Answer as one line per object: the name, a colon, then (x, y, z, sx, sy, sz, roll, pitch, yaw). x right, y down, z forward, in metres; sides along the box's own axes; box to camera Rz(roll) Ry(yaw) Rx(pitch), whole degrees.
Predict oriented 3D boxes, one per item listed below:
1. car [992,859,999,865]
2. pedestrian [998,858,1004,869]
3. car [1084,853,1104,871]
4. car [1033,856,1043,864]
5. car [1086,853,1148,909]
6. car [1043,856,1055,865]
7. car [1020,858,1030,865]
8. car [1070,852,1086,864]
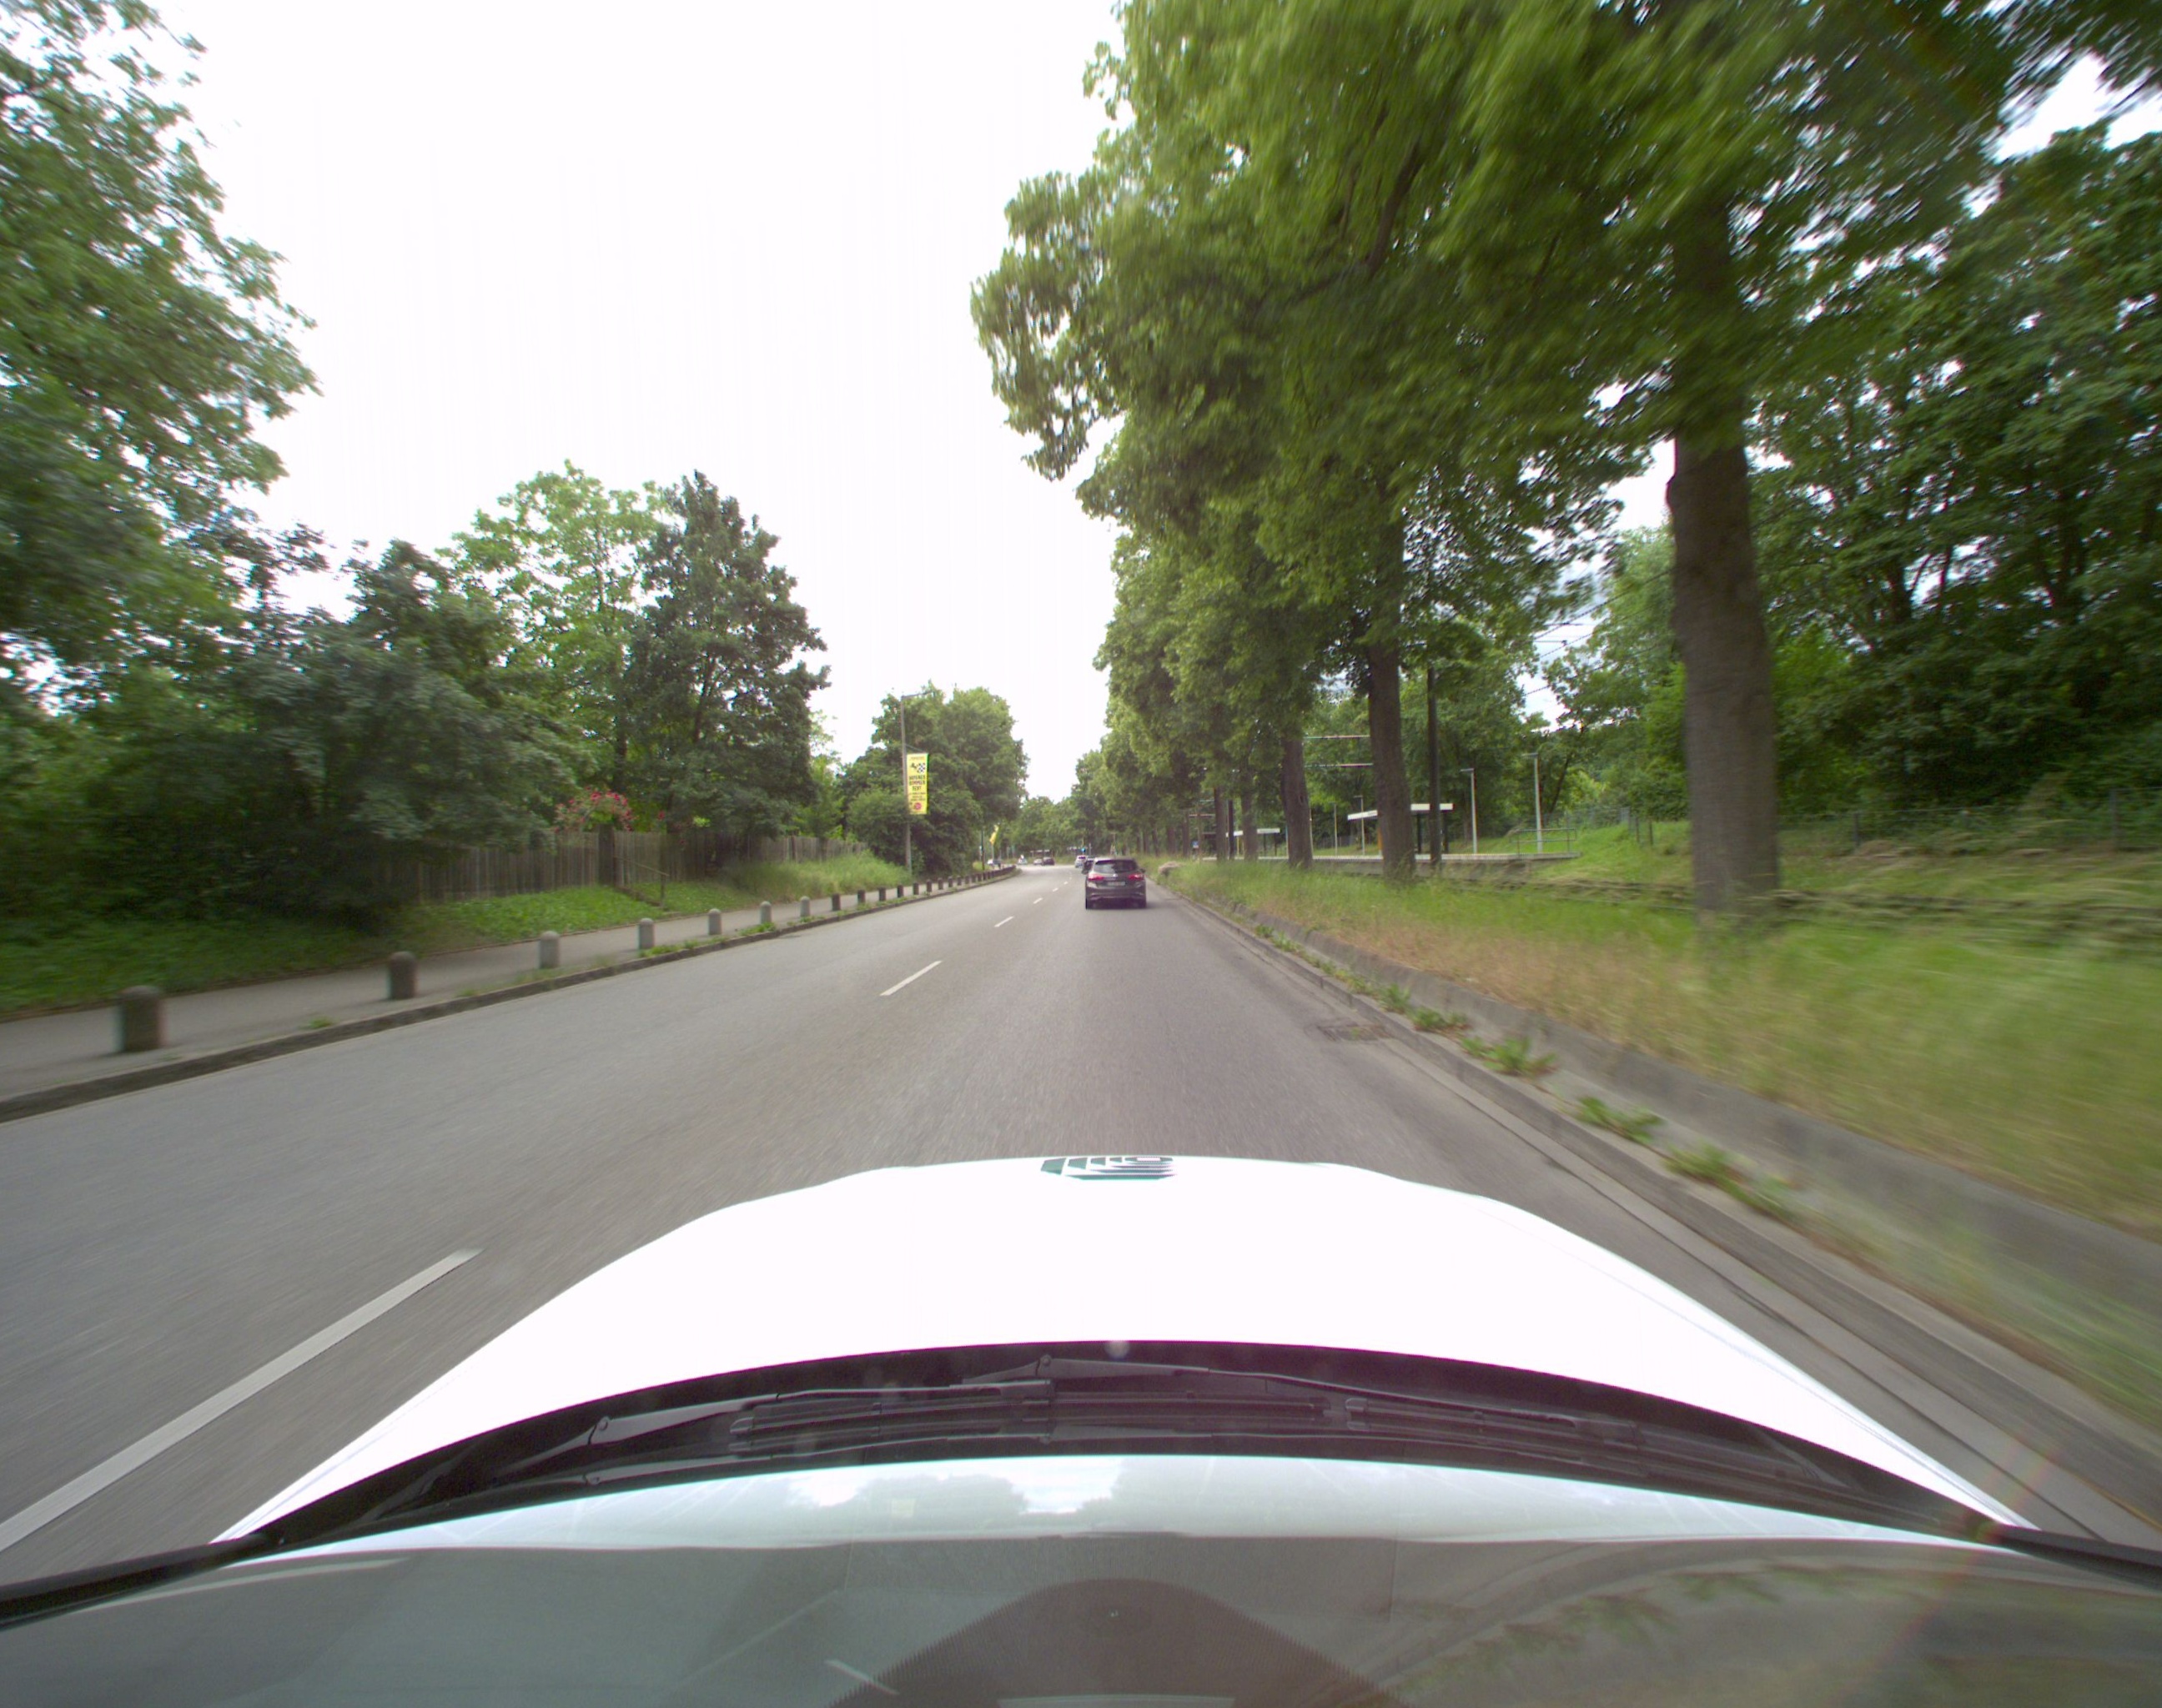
car: (-21.963, 2.070, 209.356, 1.560, 1.441, 3.541, -1, 0, -8)
pedestrian: (-10.782, 1.268, 109.977, 0.720, 1.368, 0.652, -1, 0, -7)
car: (1.153, 0.708, 71.733, 1.724, 1.537, 3.552, -1, 0, 1)
car: (-8.195, 1.210, 155.281, 1.561, 1.441, 3.540, -1, 0, -9)
car: (1.049, 0.762, 24.643, 1.724, 1.537, 3.552, -1, 0, 1)
car: (-5.527, 1.090, 140.075, 1.561, 1.441, 3.540, -1, 0, -9)
car: (-12.265, 1.660, 177.420, 1.563, 1.441, 3.536, -1, 0, -13)
car: (-0.399, 0.520, 101.316, 1.560, 1.441, 3.543, -1, 0, -7)
